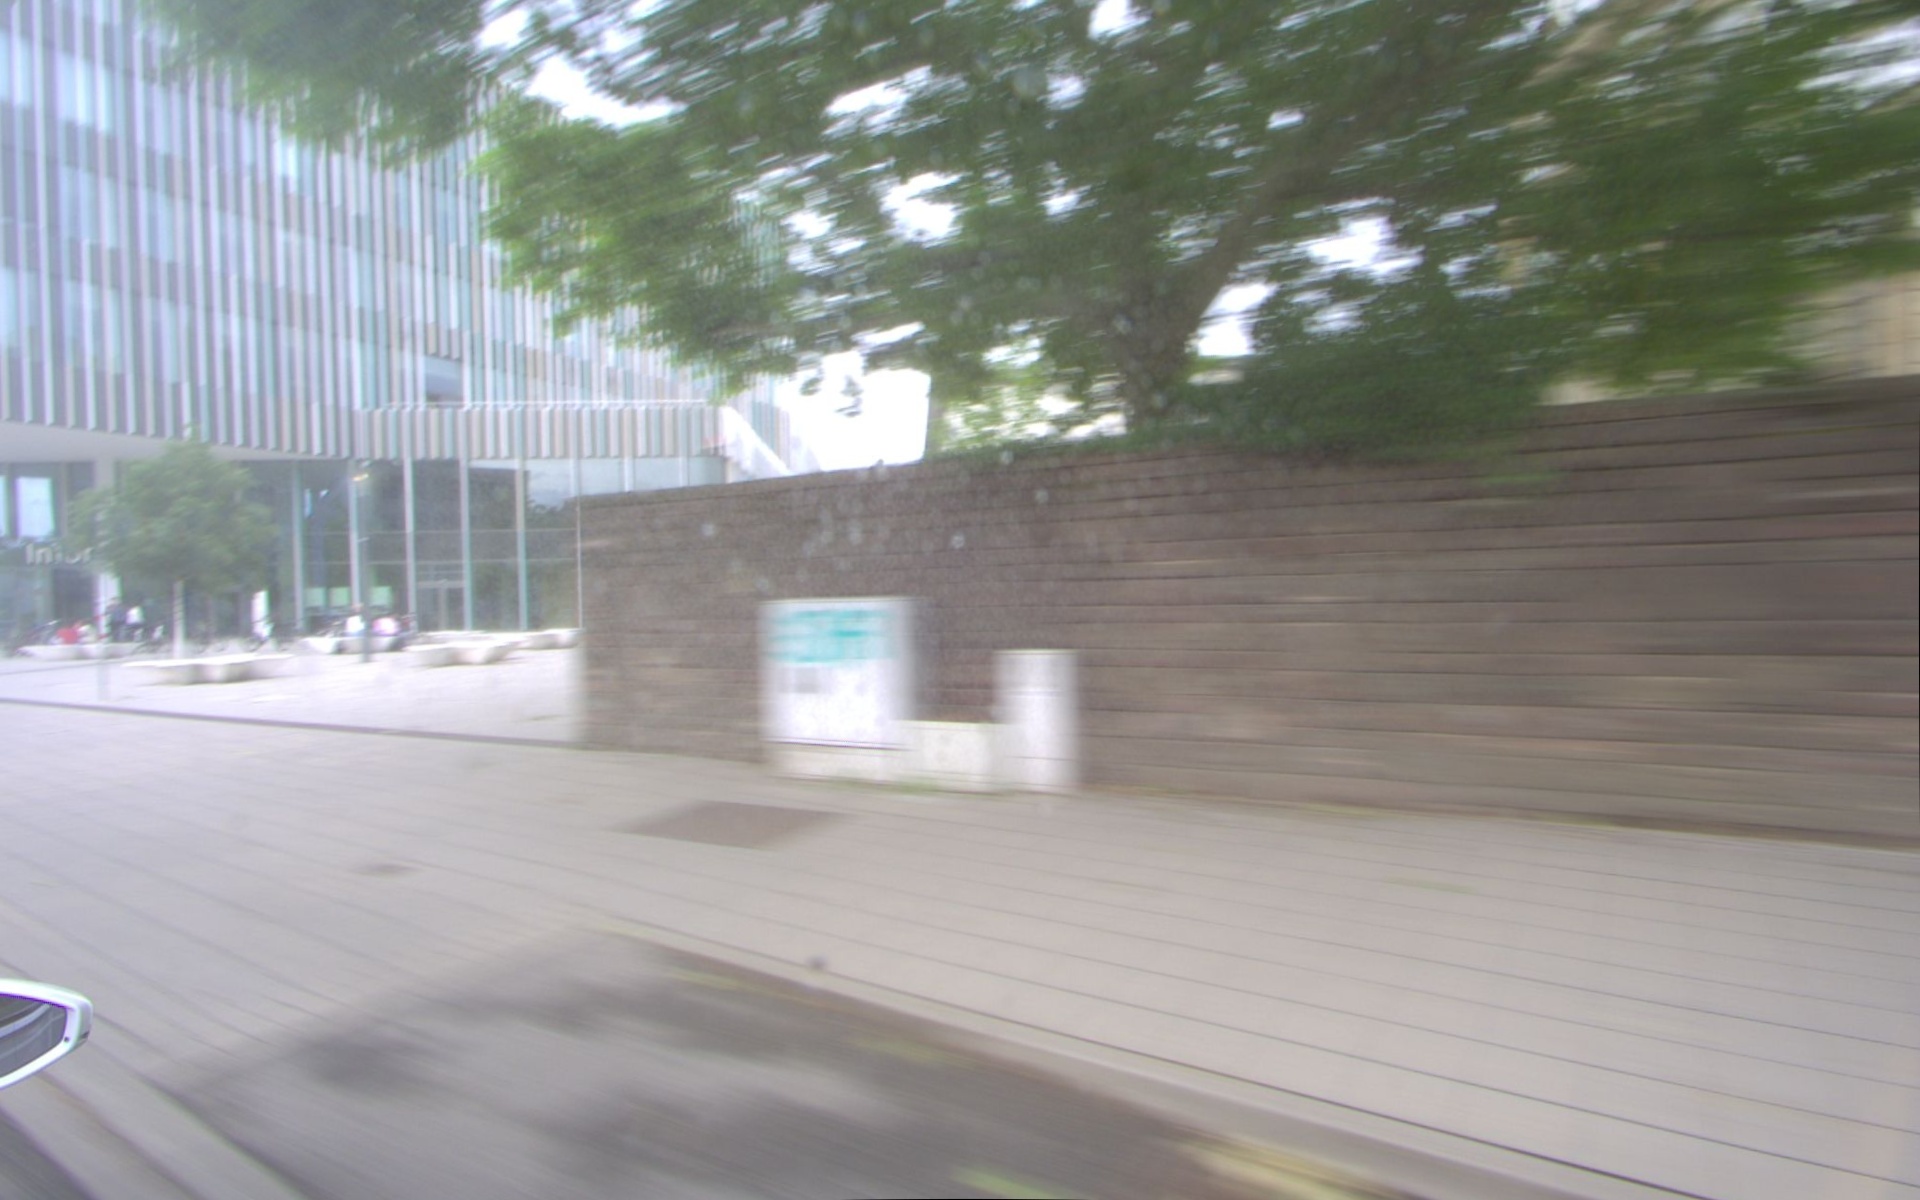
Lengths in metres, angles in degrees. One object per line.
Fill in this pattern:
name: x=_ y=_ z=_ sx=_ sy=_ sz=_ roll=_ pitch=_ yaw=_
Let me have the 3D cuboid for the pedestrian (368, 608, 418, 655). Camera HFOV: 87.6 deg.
pedestrian: x=-15.812 y=0.877 z=27.930 sx=0.866 sy=1.273 sz=0.907 roll=-1 pitch=-1 yaw=34

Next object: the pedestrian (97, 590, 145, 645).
pedestrian: x=-32.432 y=0.674 z=38.713 sx=1.121 sy=2.089 sz=1.177 roll=-1 pitch=-1 yaw=37

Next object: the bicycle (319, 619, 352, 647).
bicycle: x=-21.483 y=1.121 z=34.471 sx=0.532 sy=0.911 sz=1.355 roll=-1 pitch=0 yaw=-13

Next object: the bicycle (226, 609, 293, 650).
bicycle: x=-24.257 y=0.998 z=34.717 sx=0.633 sy=1.324 sz=2.006 roll=0 pitch=2 yaw=9

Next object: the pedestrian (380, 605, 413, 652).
pedestrian: x=-15.910 y=0.807 z=28.269 sx=0.638 sy=1.295 sz=0.642 roll=-1 pitch=-1 yaw=44

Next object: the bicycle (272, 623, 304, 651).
bicycle: x=-23.150 y=1.265 z=34.507 sx=0.387 sy=0.911 sz=1.471 roll=-1 pitch=0 yaw=-13

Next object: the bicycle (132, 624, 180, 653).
bicycle: x=-27.689 y=1.313 z=34.514 sx=0.660 sy=0.911 sz=1.842 roll=-1 pitch=0 yaw=-18

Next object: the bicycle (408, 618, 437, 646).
bicycle: x=-19.086 y=1.128 z=35.573 sx=0.500 sy=0.911 sz=1.549 roll=-1 pitch=0 yaw=-13

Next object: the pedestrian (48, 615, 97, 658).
pedestrian: x=-25.927 y=1.061 z=29.268 sx=0.832 sy=1.222 sz=0.891 roll=-1 pitch=1 yaw=-25

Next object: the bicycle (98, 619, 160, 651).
bicycle: x=-28.548 y=1.202 z=34.445 sx=0.760 sy=1.015 sz=1.958 roll=-1 pitch=0 yaw=-11

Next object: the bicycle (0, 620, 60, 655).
bicycle: x=-32.300 y=1.268 z=34.629 sx=0.722 sy=1.130 sz=2.181 roll=-1 pitch=0 yaw=-12

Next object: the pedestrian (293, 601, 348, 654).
pedestrian: x=-17.235 y=0.747 z=26.994 sx=0.863 sy=1.385 sz=0.910 roll=0 pitch=-1 yaw=21

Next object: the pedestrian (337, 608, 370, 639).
pedestrian: x=-17.000 y=0.645 z=28.058 sx=0.630 sy=0.834 sz=0.726 roll=-2 pitch=1 yaw=-43

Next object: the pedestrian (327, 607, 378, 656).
pedestrian: x=-16.300 y=0.844 z=26.874 sx=0.866 sy=1.273 sz=0.907 roll=-1 pitch=-1 yaw=34

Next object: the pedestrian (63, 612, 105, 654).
pedestrian: x=-26.203 y=0.979 z=29.958 sx=0.837 sy=1.209 sz=0.886 roll=0 pitch=1 yaw=45

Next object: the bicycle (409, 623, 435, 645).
bicycle: x=-19.064 y=1.192 z=35.499 sx=0.481 sy=0.701 sz=1.184 roll=-1 pitch=2 yaw=-13

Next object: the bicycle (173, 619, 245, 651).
bicycle: x=-25.871 y=1.194 z=34.536 sx=0.766 sy=1.019 sz=2.192 roll=-1 pitch=0 yaw=1

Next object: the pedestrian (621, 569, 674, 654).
pedestrian: x=-7.174 y=0.265 z=22.992 sx=0.872 sy=1.911 sz=0.737 roll=-1 pitch=1 yaw=12

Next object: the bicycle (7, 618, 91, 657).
bicycle: x=-30.974 y=1.248 z=34.100 sx=0.760 sy=1.204 sz=2.717 roll=-1 pitch=0 yaw=-11

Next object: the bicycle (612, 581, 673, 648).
bicycle: x=-7.249 y=0.320 z=22.935 sx=0.592 sy=1.490 sz=1.646 roll=-1 pitch=1 yaw=10
